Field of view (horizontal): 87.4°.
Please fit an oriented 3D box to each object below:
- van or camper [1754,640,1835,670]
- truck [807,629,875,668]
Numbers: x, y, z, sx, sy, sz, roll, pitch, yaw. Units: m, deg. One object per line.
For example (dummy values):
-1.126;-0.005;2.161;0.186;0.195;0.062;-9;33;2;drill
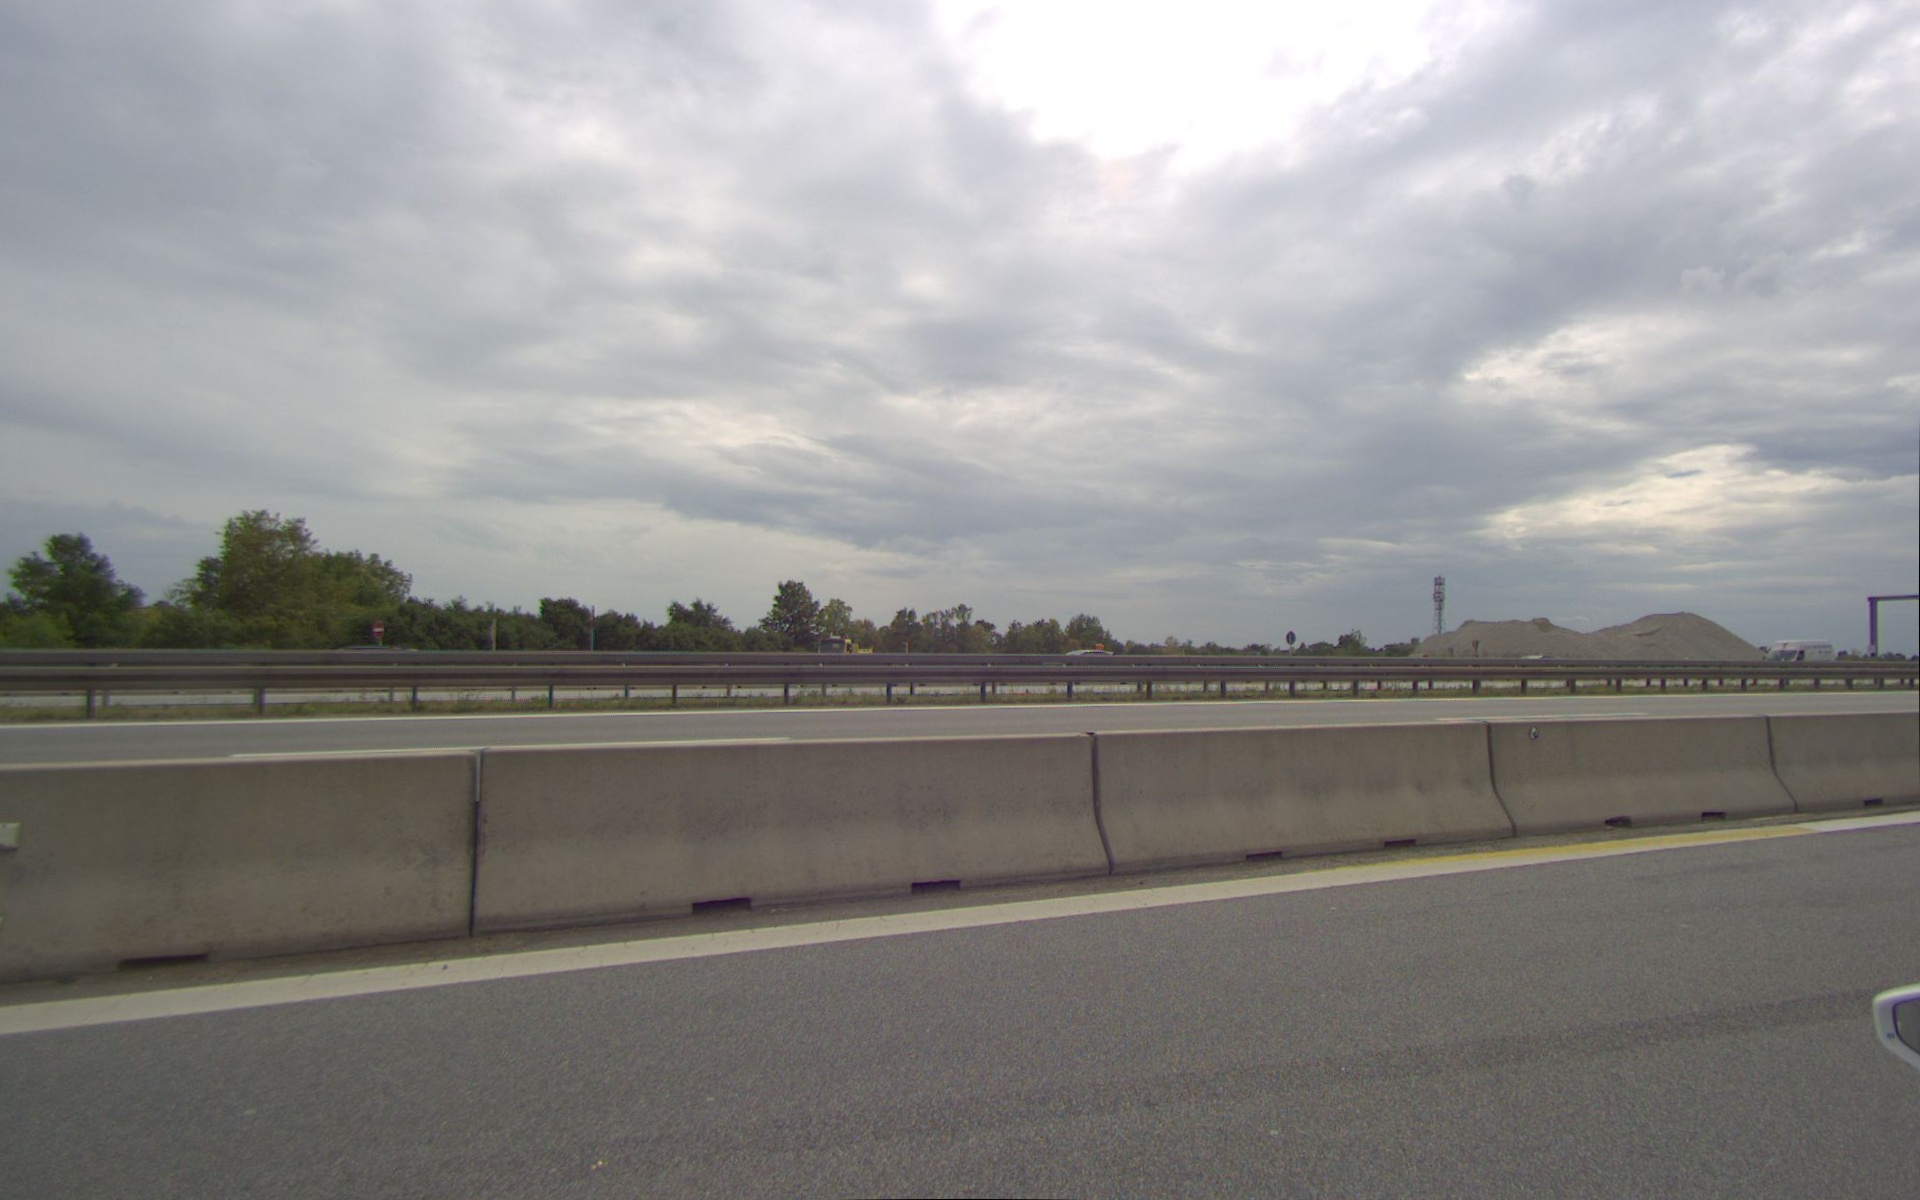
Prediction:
60.341;3.957;72.607;6.197;2.040;2.227;2;-2;-27;van or camper
-9.238;3.735;79.106;2.857;2.810;8.788;1;-2;10;truck
